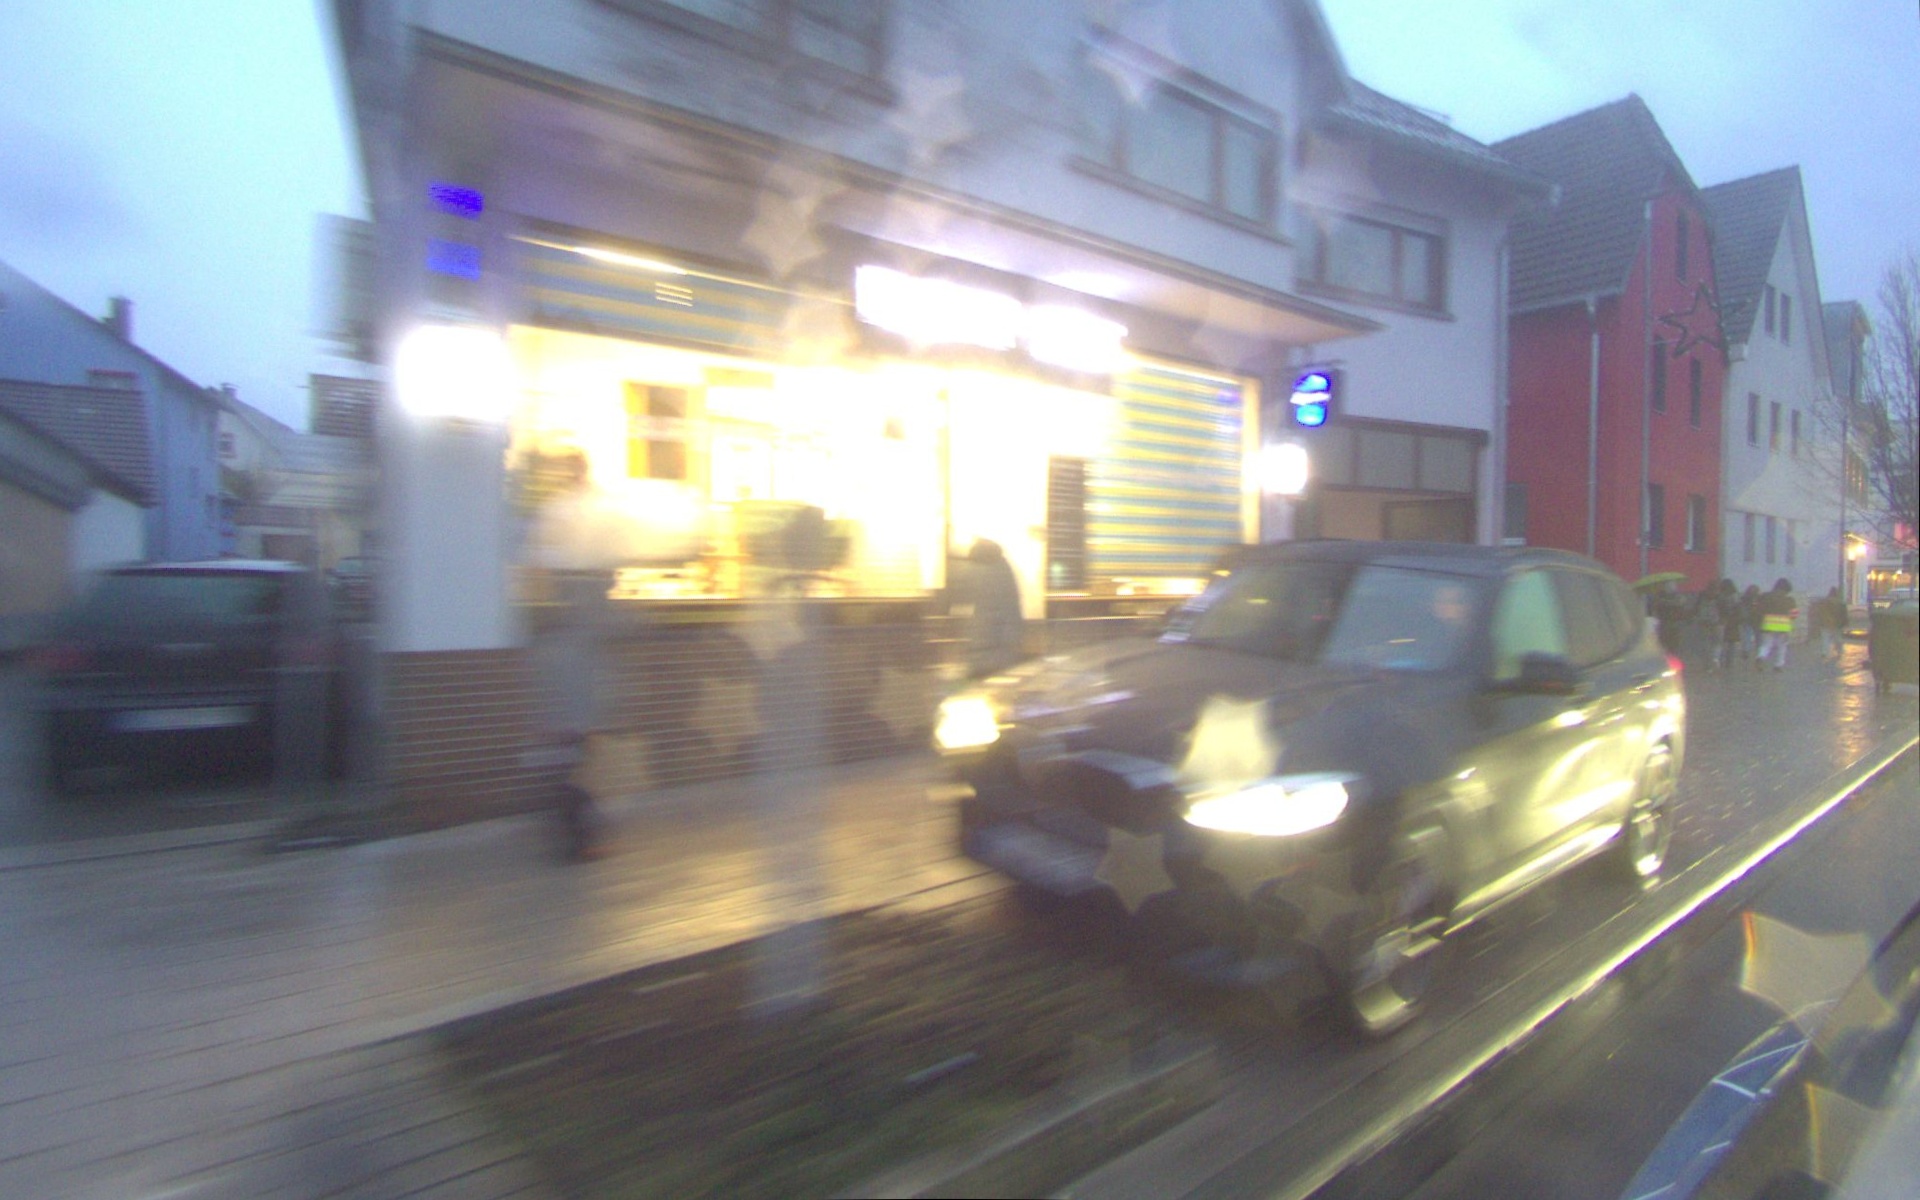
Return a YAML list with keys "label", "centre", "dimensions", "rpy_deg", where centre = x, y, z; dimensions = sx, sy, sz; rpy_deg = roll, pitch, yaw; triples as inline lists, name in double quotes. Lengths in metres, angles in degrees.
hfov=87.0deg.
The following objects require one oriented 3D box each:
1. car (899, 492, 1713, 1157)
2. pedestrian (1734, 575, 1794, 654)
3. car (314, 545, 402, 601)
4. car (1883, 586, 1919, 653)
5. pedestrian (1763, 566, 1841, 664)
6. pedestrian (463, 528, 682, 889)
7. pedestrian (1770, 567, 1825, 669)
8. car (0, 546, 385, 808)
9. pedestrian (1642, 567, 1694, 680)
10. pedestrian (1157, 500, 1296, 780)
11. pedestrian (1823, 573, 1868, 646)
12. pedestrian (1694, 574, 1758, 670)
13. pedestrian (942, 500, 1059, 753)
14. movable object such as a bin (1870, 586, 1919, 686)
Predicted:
- label: "car"
  centre: [1.931, 0.530, 4.710]
  dimensions: [4.312, 1.713, 1.738]
  rpy_deg: [-1, 2, -42]
- label: "pedestrian"
  centre: [18.110, 0.314, 22.789]
  dimensions: [1.032, 1.699, 0.749]
  rpy_deg: [1, 2, -35]
- label: "car"
  centre: [-18.273, -0.808, 30.873]
  dimensions: [1.834, 1.589, 3.787]
  rpy_deg: [1, 1, -24]
- label: "car"
  centre: [23.610, 0.470, 24.154]
  dimensions: [4.123, 1.482, 1.733]
  rpy_deg: [0, 4, -40]
- label: "pedestrian"
  centre: [15.438, 0.269, 18.555]
  dimensions: [1.013, 1.736, 0.716]
  rpy_deg: [1, 1, -28]
- label: "pedestrian"
  centre: [-1.819, 0.459, 4.786]
  dimensions: [0.616, 1.535, 0.724]
  rpy_deg: [1, -1, 35]
- label: "pedestrian"
  centre: [15.385, 0.324, 18.587]
  dimensions: [0.847, 1.823, 0.531]
  rpy_deg: [0, -1, -32]
- label: "car"
  centre: [-5.465, 0.391, 7.662]
  dimensions: [1.646, 1.445, 3.895]
  rpy_deg: [1, 1, -26]
- label: "pedestrian"
  centre: [10.703, 0.343, 15.301]
  dimensions: [0.616, 1.647, 0.895]
  rpy_deg: [1, -1, 35]
- label: "pedestrian"
  centre: [1.742, 0.229, 6.620]
  dimensions: [0.641, 1.720, 0.574]
  rpy_deg: [-1, 3, -40]
- label: "pedestrian"
  centre: [20.955, 0.213, 23.944]
  dimensions: [0.935, 1.673, 0.531]
  rpy_deg: [-3, 1, -32]
- label: "pedestrian"
  centre: [13.587, 0.376, 17.947]
  dimensions: [0.998, 1.650, 0.482]
  rpy_deg: [1, 1, -28]
- label: "pedestrian"
  centre: [0.294, 0.171, 7.376]
  dimensions: [0.608, 1.748, 0.501]
  rpy_deg: [-3, 1, -35]
- label: "movable object such as a bin"
  centre: [14.628, 0.546, 15.213]
  dimensions: [1.392, 1.438, 1.132]
  rpy_deg: [1, 3, -39]
